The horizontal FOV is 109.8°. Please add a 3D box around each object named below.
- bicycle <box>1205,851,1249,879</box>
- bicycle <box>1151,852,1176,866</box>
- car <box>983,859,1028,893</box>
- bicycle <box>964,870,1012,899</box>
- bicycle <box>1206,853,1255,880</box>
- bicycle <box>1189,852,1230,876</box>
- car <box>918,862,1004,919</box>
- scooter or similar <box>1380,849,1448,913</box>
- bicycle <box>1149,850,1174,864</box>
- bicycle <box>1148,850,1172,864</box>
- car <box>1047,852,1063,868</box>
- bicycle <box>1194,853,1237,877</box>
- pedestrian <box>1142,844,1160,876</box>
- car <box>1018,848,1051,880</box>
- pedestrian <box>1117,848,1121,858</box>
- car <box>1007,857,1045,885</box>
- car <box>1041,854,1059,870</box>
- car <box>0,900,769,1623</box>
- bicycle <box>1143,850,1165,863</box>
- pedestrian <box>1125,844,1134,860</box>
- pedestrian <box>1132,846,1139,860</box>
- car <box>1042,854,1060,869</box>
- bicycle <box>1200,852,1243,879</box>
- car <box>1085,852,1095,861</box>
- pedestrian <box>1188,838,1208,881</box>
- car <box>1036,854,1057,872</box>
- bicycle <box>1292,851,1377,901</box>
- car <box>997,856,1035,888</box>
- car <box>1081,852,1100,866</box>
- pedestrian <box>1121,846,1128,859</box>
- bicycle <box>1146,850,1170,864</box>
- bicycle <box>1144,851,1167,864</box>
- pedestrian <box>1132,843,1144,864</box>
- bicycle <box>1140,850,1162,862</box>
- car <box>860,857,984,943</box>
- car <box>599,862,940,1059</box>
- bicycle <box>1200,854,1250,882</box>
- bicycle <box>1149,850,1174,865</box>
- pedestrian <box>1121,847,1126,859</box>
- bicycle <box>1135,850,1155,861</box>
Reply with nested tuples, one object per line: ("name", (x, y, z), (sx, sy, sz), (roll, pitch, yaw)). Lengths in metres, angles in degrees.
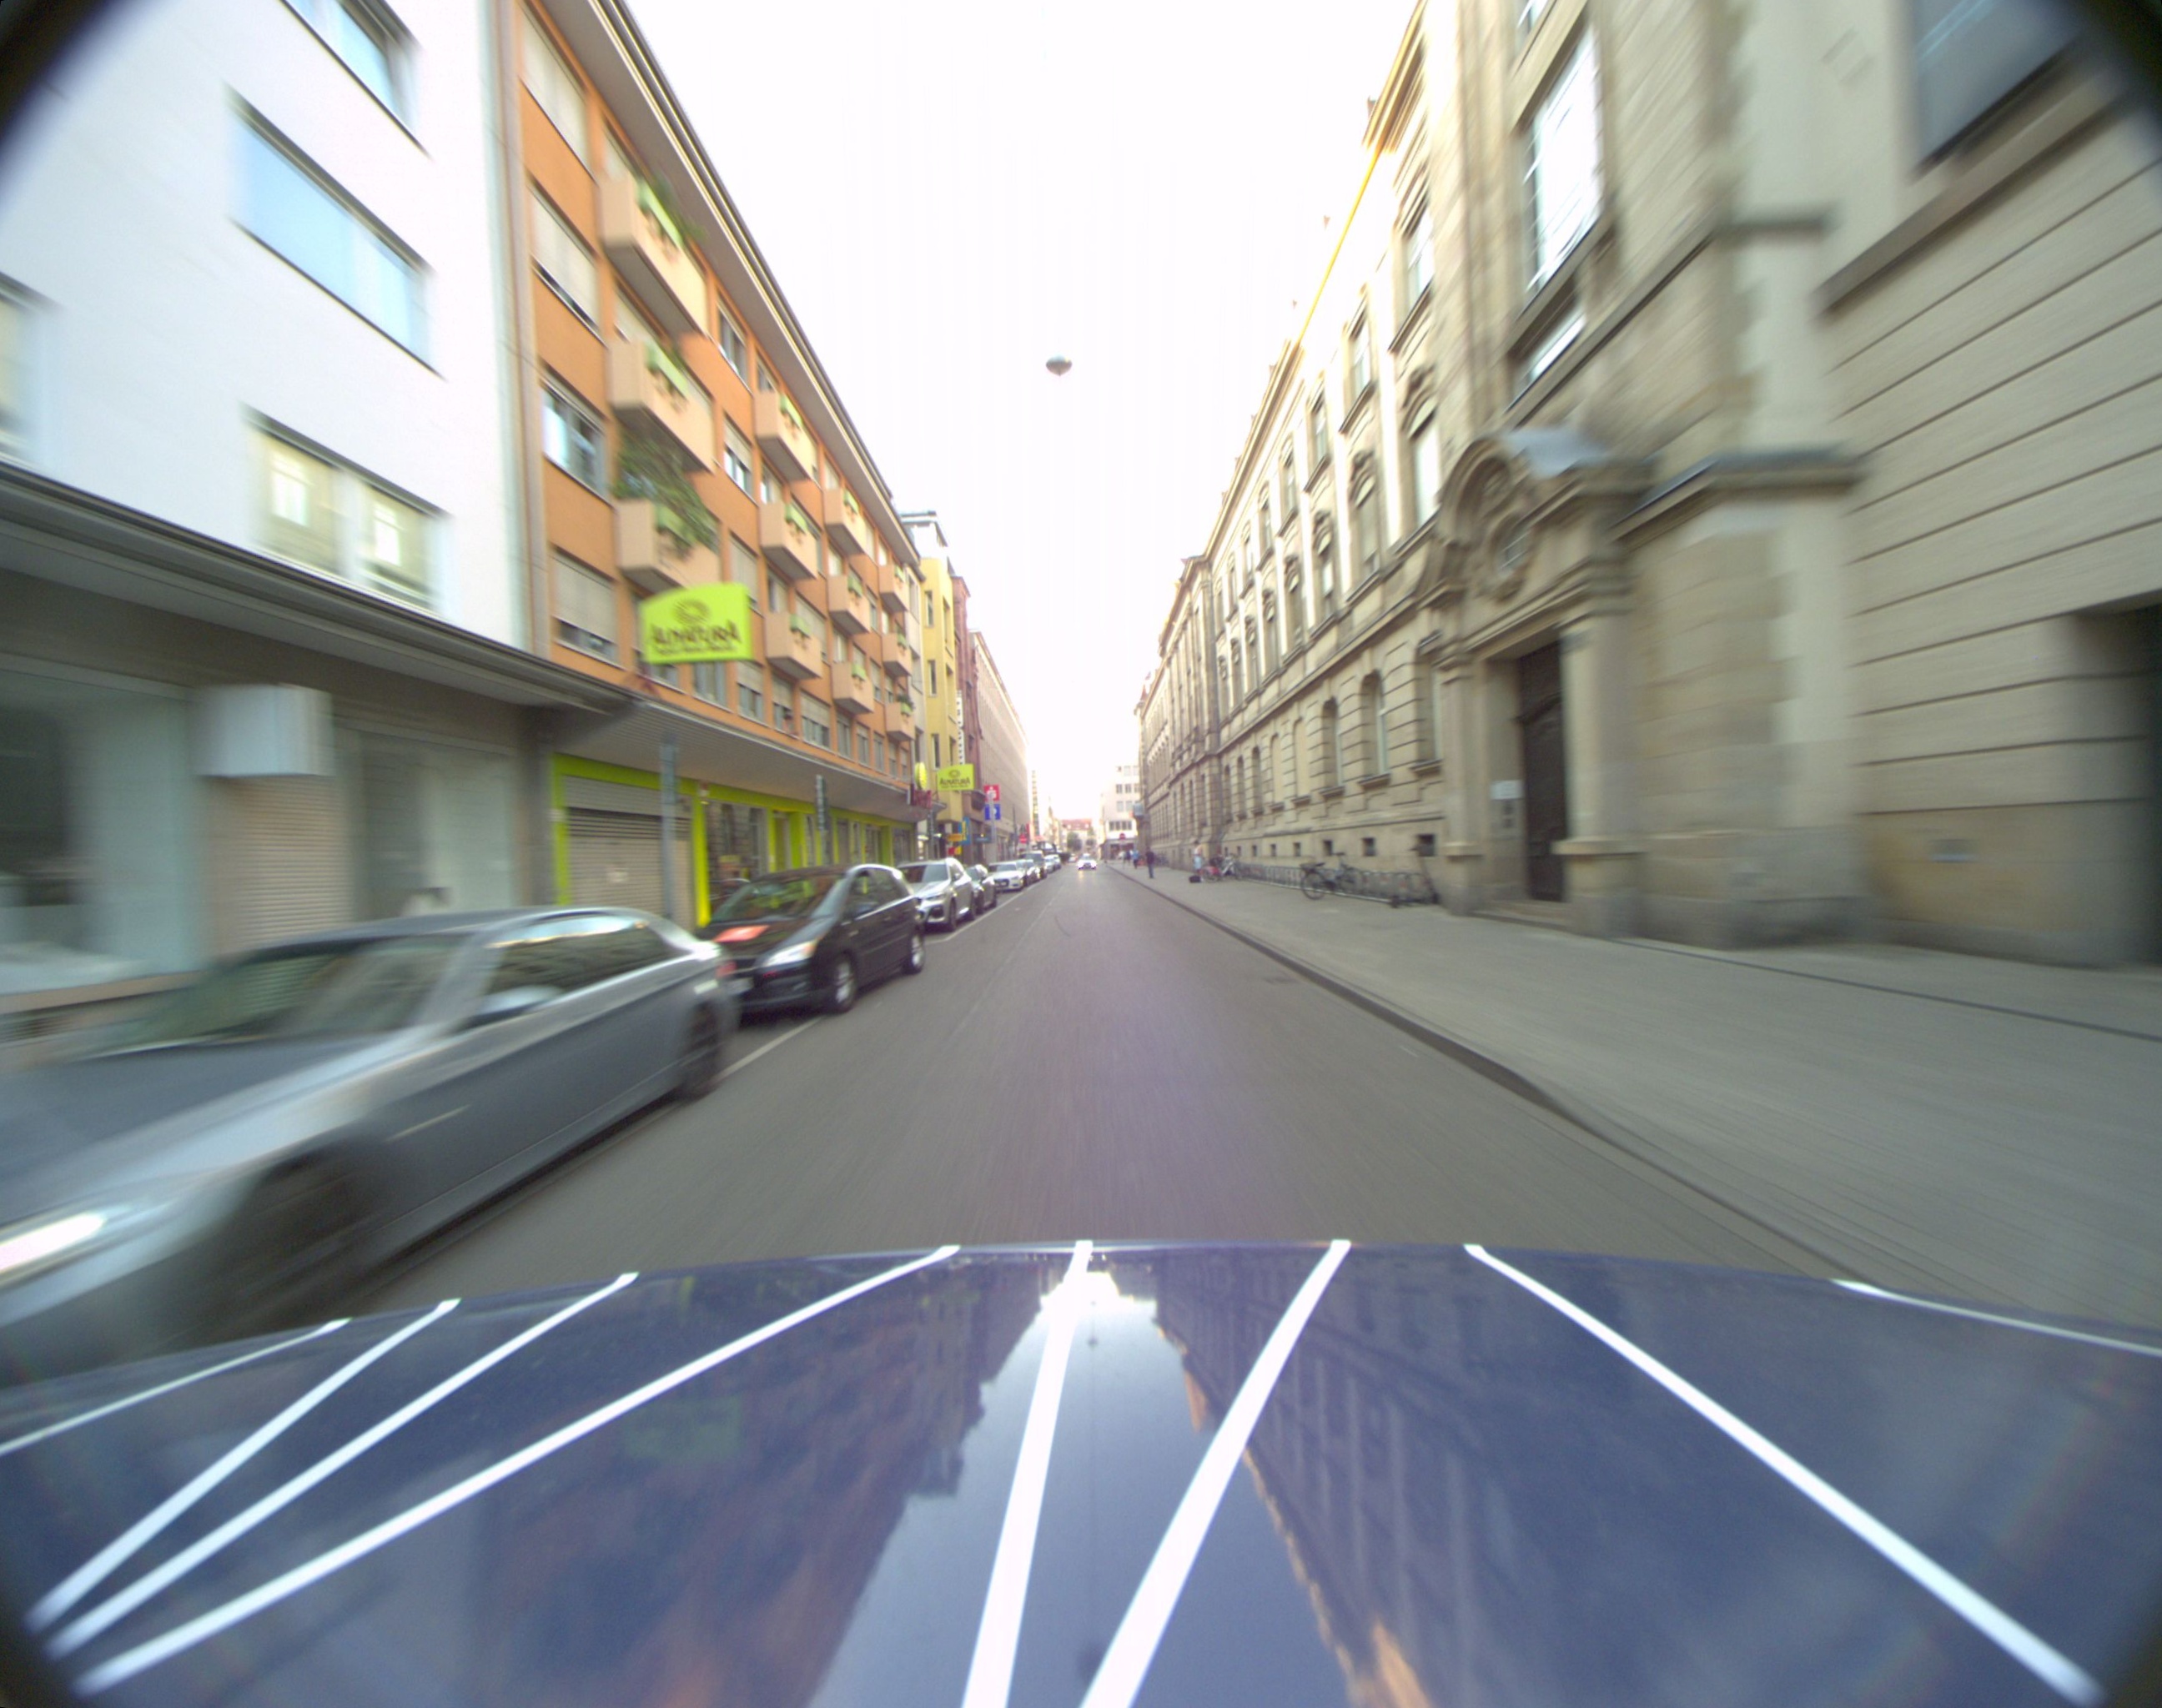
("bicycle", (6.551, 0.501, 34.030), (1.799, 1.101, 0.500), (-4, 1, -5))
("bicycle", (6.863, 0.453, 63.054), (1.940, 1.040, 0.721), (-3, 0, -4))
("car", (-3.539, 1.002, 36.210), (1.696, 1.403, 4.638), (-5, 0, -2))
("bicycle", (-3.681, 1.206, 30.210), (1.740, 1.049, 0.658), (-4, 1, -41))
("bicycle", (6.536, 0.537, 33.216), (1.943, 1.055, 0.619), (-4, 1, -5))
("bicycle", (6.525, 0.513, 38.699), (1.942, 1.055, 0.619), (-4, 1, 0))
("car", (-3.555, 1.043, 23.356), (1.695, 1.406, 4.757), (-5, 0, 1))
("scooter or similar", (6.794, 0.541, 15.516), (1.137, 1.225, 0.496), (-4, 1, -11))
("bicycle", (6.930, 0.265, 65.235), (1.943, 1.072, 0.730), (-5, 1, -6))
("bicycle", (6.871, 0.275, 66.008), (1.943, 1.072, 0.730), (-5, 1, -6))
("car", (-2.970, 0.629, 87.517), (1.781, 1.656, 4.812), (-4, 1, -2))
("bicycle", (6.631, 0.530, 37.449), (1.943, 1.055, 0.619), (-4, 1, -5))
("pedestrian", (3.908, 0.320, 42.512), (0.811, 1.740, 0.969), (-4, 1, 1))
("car", (-3.239, 0.653, 53.579), (1.851, 2.046, 5.053), (-4, 1, 0))
("pedestrian", (6.851, -0.205, 136.413), (0.545, 1.698, 0.558), (-3, 1, 1))
("car", (-3.312, 1.005, 46.494), (1.691, 1.444, 4.498), (-5, 0, 2))
("car", (-3.085, 0.778, 76.487), (1.661, 1.439, 4.444), (-4, 1, -1))
("car", (-3.409, 1.131, 3.761), (1.741, 1.407, 4.682), (-5, 0, -1))
("bicycle", (6.914, 0.235, 72.136), (1.943, 1.072, 0.730), (-5, 1, -6))
("pedestrian", (5.411, -0.191, 85.173), (0.778, 1.778, 0.820), (-4, 1, -2))
("pedestrian", (7.385, -0.139, 103.637), (0.718, 1.819, 0.870), (-6, 0, 8))
("car", (-3.213, 0.781, 82.036), (1.661, 1.439, 3.869), (-4, 1, 1))
("bicycle", (6.514, 0.524, 35.232), (1.799, 1.101, 0.500), (-4, 1, -5))
("car", (1.685, 0.468, 146.803), (1.824, 1.728, 4.000), (-2, 0, 0))
("pedestrian", (5.210, 0.257, 33.862), (0.589, 1.840, 0.754), (-4, 1, -5))
("car", (-3.199, 0.817, 70.514), (1.661, 1.439, 4.307), (-4, 1, 0))
("bicycle", (6.442, 0.540, 19.309), (1.944, 1.055, 0.619), (-6, 2, -14))
("car", (-3.486, 0.925, 41.381), (1.622, 1.507, 4.173), (-5, 0, 0))
("car", (0.920, 0.503, 76.139), (1.741, 1.407, 4.682), (0, 0, -1))
("pedestrian", (5.851, -0.201, 101.434), (0.727, 1.732, 0.839), (-6, 0, 3))
("bicycle", (6.801, 0.272, 67.324), (1.943, 1.072, 0.730), (-5, 1, -6))
("bicycle", (6.925, 0.348, 70.950), (1.943, 1.072, 0.730), (-5, 1, -6))
("pedestrian", (4.933, -0.037, 66.068), (0.831, 1.736, 0.769), (-5, 1, 1))
("bicycle", (6.969, 0.213, 75.650), (1.943, 1.072, 0.730), (-5, 1, -6))
("car", (-3.653, 0.980, 18.388), (1.756, 1.658, 4.756), (-5, 0, 1))
("car", (-3.258, 1.001, 9.134), (1.798, 1.600, 4.488), (-5, 0, 5))
("bicycle", (6.093, 0.585, 32.180), (1.942, 1.055, 0.619), (-4, 1, -1))
("bicycle", (6.787, 0.293, 63.972), (1.942, 1.072, 0.748), (-4, 1, 0))
("pedestrian", (7.093, -0.153, 127.709), (0.783, 1.881, 0.642), (-3, 1, 0))
("bicycle", (6.884, 0.163, 81.953), (2.024, 1.102, 0.730), (-5, 1, -6))
